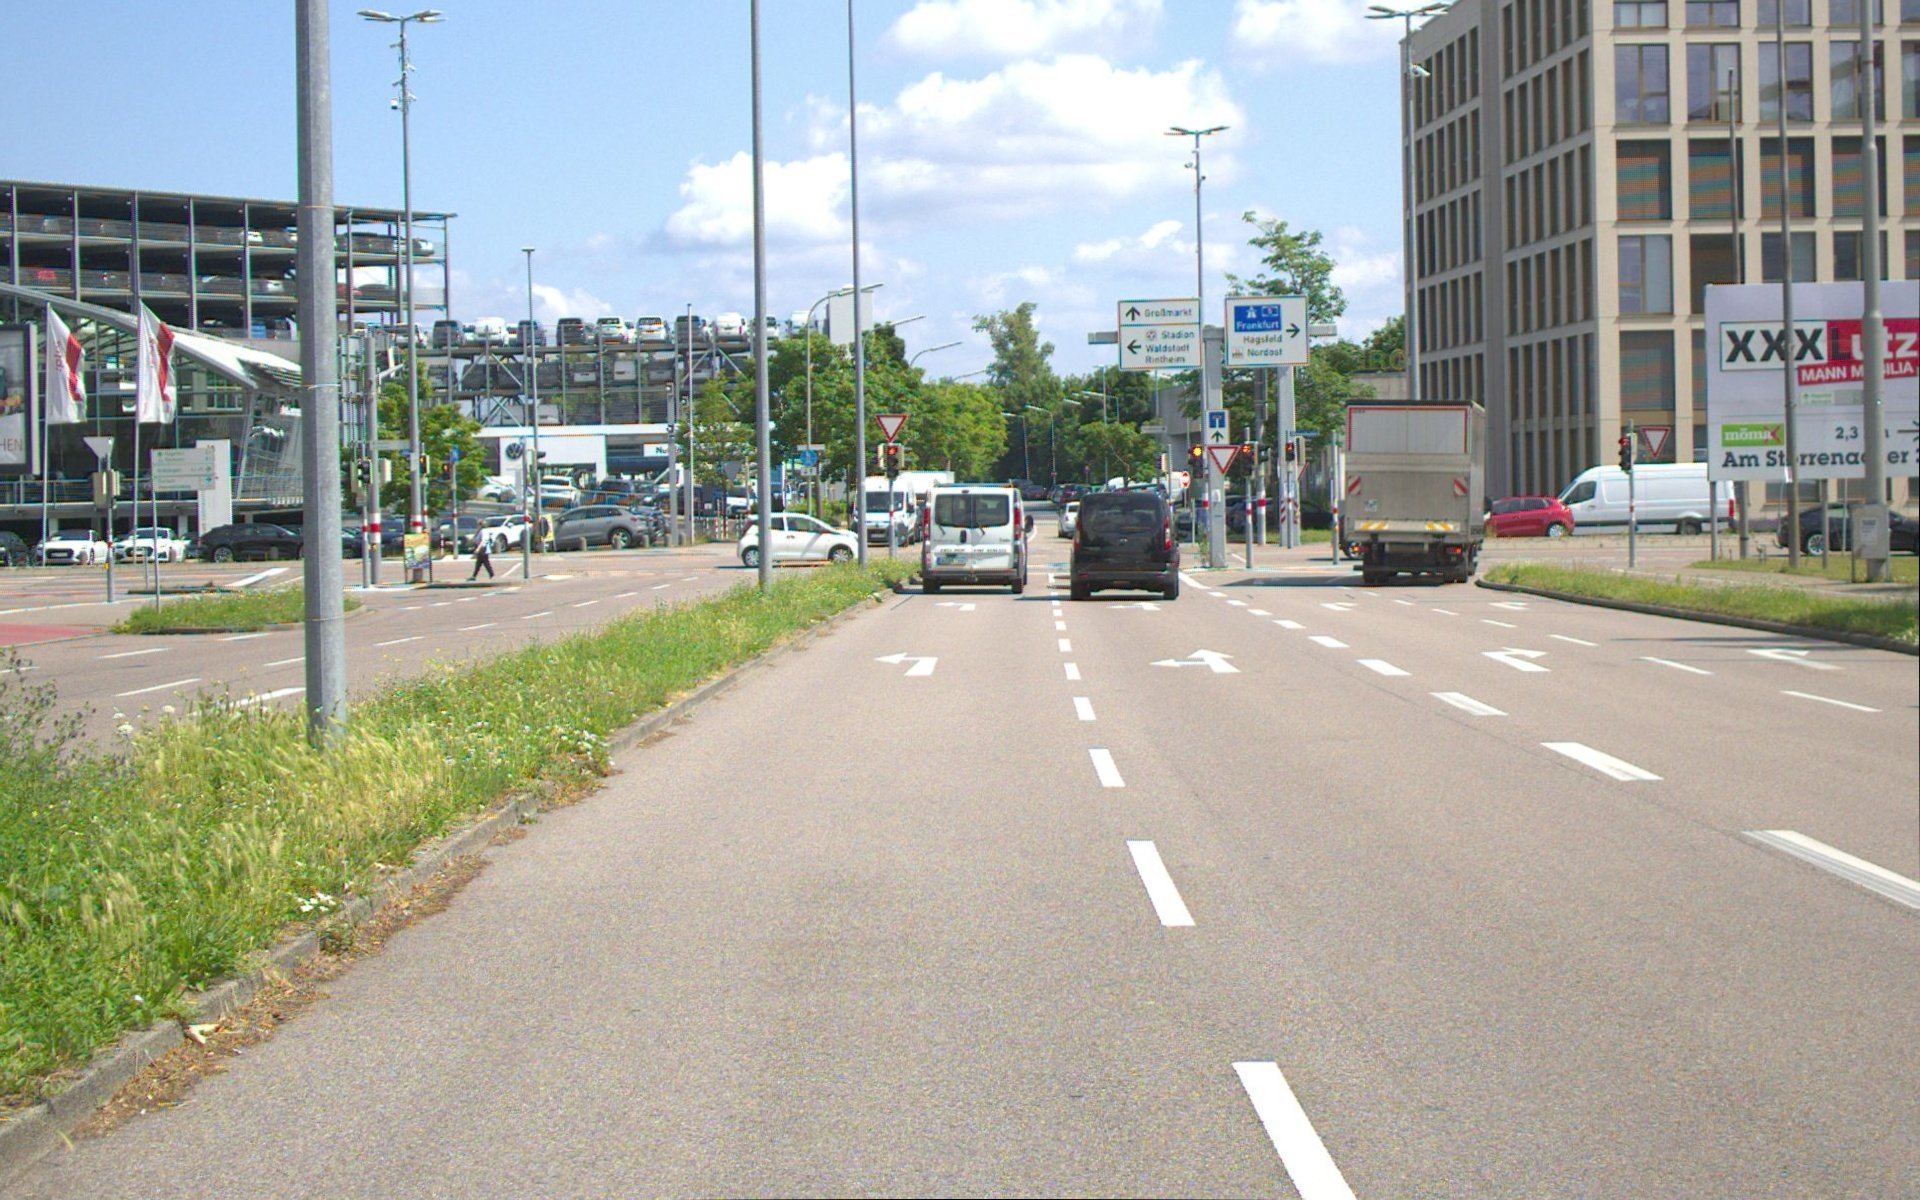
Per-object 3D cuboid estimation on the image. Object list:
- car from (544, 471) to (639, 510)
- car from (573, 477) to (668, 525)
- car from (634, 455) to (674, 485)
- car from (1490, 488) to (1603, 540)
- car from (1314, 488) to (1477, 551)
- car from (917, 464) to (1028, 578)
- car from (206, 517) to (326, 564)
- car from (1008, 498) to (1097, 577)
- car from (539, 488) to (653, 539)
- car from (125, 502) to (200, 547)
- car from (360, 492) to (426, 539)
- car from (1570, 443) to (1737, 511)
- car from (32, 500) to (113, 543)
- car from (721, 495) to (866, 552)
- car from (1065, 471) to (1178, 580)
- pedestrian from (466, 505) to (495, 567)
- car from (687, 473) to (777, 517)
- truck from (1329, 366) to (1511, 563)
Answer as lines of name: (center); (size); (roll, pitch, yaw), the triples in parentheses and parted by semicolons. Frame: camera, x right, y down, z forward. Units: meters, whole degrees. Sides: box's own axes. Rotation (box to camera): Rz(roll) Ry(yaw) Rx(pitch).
car: (-16.472, -4.894, 153.681); (4.164, 1.707, 1.689); (0, 2, -4)
car: (-13.174, -3.859, 133.486); (3.507, 1.707, 1.604); (-2, 2, -2)
car: (-15.570, -6.625, 175.009); (1.846, 1.524, 4.001); (-1, 2, -3)
car: (18.341, -2.683, 107.570); (3.272, 1.400, 1.334); (0, 11, -1)
car: (11.638, -2.145, 91.878); (4.147, 1.498, 1.626); (-2, 3, 12)
car: (0.274, -1.510, 64.217); (1.856, 2.011, 4.000); (0, 3, 3)
car: (-23.639, -2.041, 117.212); (3.791, 1.507, 1.679); (-1, 2, -3)
car: (1.880, -1.273, 69.059); (1.740, 1.538, 4.000); (0, 1, 2)
car: (-12.988, -3.113, 122.840); (3.861, 1.633, 1.858); (-2, 2, -2)
car: (-27.252, -2.590, 117.558); (1.776, 1.445, 4.030); (-1, 2, -2)
car: (-19.428, -2.901, 117.682); (1.816, 1.546, 4.001); (-1, 2, -16)
car: (23.408, -4.158, 116.217); (5.499, 2.247, 1.999); (0, 2, 11)
car: (-30.267, -2.703, 117.299); (1.907, 1.371, 3.753); (-1, 2, -2)
car: (-4.518, -2.078, 92.821); (3.850, 1.461, 1.696); (-1, 2, -4)
car: (2.816, -1.306, 59.275); (1.820, 1.802, 4.000); (0, 2, 4)
pedestrian: (-11.716, -1.565, 83.989); (0.470, 1.507, 0.511); (0, 2, 26)
car: (-10.255, -4.720, 154.317); (3.986, 1.919, 1.827); (0, 2, -5)
truck: (9.922, -2.896, 73.340); (3.131, 3.926, 8.854); (0, 3, 12)
